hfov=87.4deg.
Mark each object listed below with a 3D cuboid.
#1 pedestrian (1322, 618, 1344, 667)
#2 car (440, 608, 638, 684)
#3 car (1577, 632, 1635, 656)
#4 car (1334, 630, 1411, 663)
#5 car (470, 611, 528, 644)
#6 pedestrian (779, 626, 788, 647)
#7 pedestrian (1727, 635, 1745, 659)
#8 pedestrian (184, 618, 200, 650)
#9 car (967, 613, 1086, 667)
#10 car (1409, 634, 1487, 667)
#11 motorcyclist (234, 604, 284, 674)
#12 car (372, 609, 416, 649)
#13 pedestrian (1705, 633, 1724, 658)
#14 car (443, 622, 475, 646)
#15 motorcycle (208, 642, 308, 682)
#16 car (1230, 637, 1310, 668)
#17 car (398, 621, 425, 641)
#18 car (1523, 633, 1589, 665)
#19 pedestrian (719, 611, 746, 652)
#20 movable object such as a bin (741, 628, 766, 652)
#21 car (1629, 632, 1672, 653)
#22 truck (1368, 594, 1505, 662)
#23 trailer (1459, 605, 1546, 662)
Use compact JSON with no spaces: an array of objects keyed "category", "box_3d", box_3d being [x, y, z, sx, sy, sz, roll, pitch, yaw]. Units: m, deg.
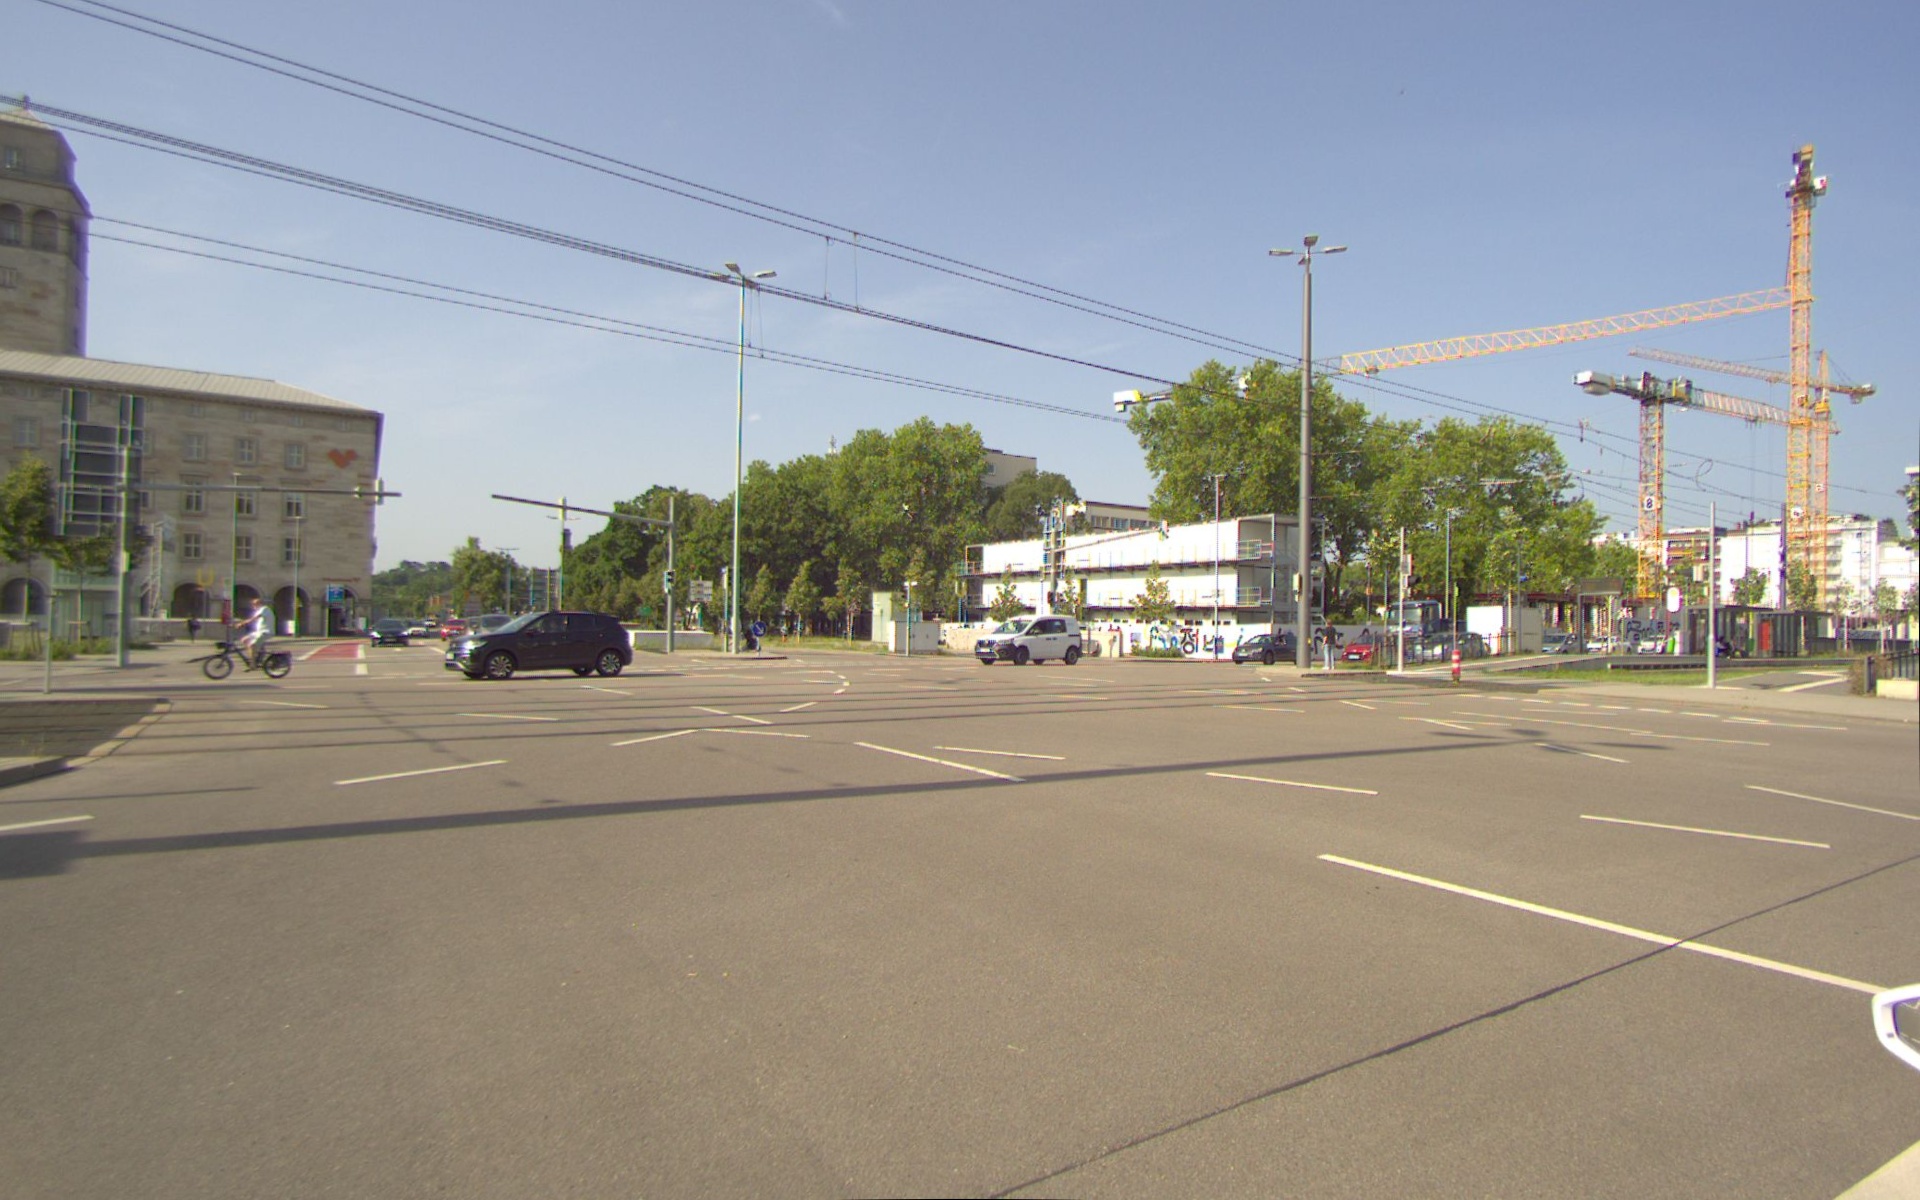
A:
[{"category":"pedestrian","box_3d":[12.926,1.472,34.816,0.630,1.698,0.370,1,-1,-19]},{"category":"car","box_3d":[-9.780,1.037,23.505,3.971,1.622,1.624,2,-1,-43]},{"category":"car","box_3d":[45.543,3.116,70.795,4.568,1.602,1.781,2,-1,-34]},{"category":"car","box_3d":[18.832,2.120,45.803,3.667,1.379,1.706,2,-1,-40]},{"category":"car","box_3d":[-20.942,1.235,45.579,1.694,1.399,3.617,2,-1,-36]},{"category":"pedestrian","box_3d":[-14.791,3.027,84.189,0.535,1.731,0.587,2,-1,-37]},{"category":"pedestrian","box_3d":[42.409,2.557,54.887,0.587,1.317,0.675,1,-1,-39]},{"category":"pedestrian","box_3d":[-42.322,1.860,55.374,0.639,1.754,0.575,0,-1,43]},{"category":"car","box_3d":[2.422,1.405,35.795,4.485,1.812,1.601,2,-1,-42]},{"category":"car","box_3d":[23.933,2.457,49.236,4.362,1.489,1.631,2,-1,-37]},{"category":"motorcyclist","box_3d":[-15.874,0.873,22.742,0.855,1.548,0.387,2,-1,-43]},{"category":"car","box_3d":[-30.815,1.557,54.735,1.976,2.040,3.970,2,-1,-29]},{"category":"pedestrian","box_3d":[39.955,2.395,53.172,0.587,1.317,0.675,1,-1,-39]},{"category":"car","box_3d":[-34.299,2.293,68.773,1.811,1.526,3.989,2,-1,-28]},{"category":"motorcycle","box_3d":[-15.883,1.386,22.753,1.809,0.844,0.514,2,-1,-43]},{"category":"car","box_3d":[14.492,2.420,46.858,4.391,1.365,1.581,2,-1,-42]},{"category":"car","box_3d":[-51.038,2.892,93.490,1.892,1.739,4.069,2,-1,-32]},{"category":"car","box_3d":[33.864,2.775,57.078,4.110,1.684,1.709,2,-1,-35]},{"category":"pedestrian","box_3d":[-9.899,1.384,43.698,0.995,1.756,0.557,2,-1,-32]},{"category":"movable object such as a bin","box_3d":[-9.083,1.771,44.196,0.898,1.027,0.560,2,-1,-32]},{"category":"car","box_3d":[52.549,3.230,76.440,3.400,1.483,1.586,2,-1,-35]},{"category":"truck","box_3d":[27.311,1.620,57.403,8.797,3.634,3.003,2,-1,-34]},{"category":"trailer","box_3d":[28.710,1.765,53.111,4.974,2.818,2.030,2,0,-36]}]
